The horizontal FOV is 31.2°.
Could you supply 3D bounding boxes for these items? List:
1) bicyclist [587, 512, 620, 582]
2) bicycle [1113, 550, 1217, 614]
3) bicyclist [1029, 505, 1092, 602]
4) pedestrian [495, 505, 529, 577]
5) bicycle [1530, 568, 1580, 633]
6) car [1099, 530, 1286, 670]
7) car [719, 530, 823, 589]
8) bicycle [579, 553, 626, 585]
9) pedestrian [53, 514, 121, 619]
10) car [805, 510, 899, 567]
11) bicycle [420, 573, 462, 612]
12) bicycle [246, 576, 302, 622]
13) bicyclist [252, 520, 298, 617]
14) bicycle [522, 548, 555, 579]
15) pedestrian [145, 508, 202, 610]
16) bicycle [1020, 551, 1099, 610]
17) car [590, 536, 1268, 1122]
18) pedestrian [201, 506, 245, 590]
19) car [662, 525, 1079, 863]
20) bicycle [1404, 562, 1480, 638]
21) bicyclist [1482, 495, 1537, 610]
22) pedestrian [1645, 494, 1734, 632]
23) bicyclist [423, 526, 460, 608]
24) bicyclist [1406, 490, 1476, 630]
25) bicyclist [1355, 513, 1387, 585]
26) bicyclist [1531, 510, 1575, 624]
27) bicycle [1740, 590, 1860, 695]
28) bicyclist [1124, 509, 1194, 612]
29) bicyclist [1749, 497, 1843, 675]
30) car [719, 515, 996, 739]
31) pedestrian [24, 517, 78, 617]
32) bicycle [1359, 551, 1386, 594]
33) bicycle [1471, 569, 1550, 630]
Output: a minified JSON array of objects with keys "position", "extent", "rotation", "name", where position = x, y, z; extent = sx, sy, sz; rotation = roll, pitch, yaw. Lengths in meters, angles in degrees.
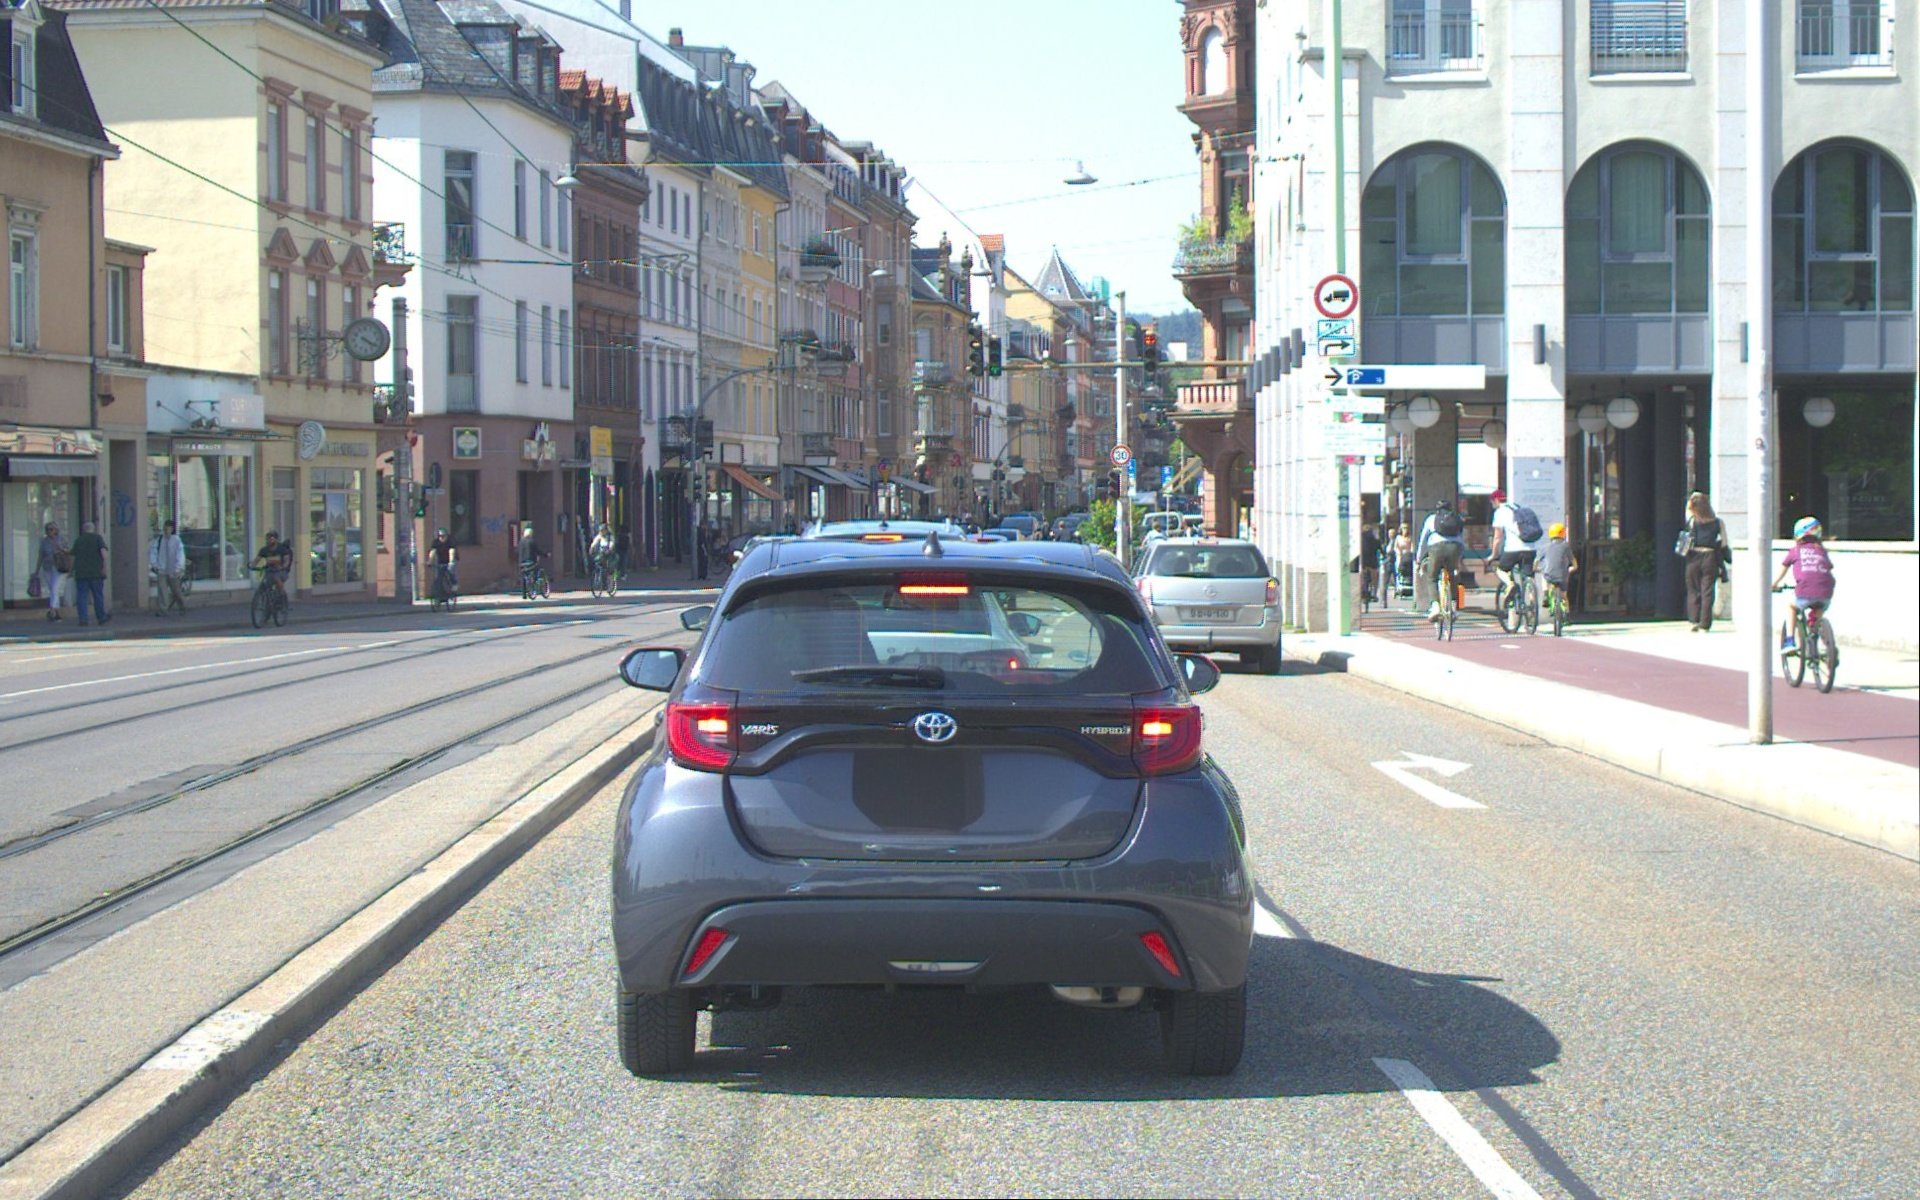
[{"position":[-8.606,-1.285,83.035],"extent":[0.627,1.644,0.621],"rotation":[2,2,8],"name":"bicyclist"},{"position":[5.182,-0.460,87.171],"extent":[1.112,1.415,3.008],"rotation":[3,1,-29],"name":"bicycle"},{"position":[2.714,-1.269,93.045],"extent":[1.227,2.520,1.105],"rotation":[4,1,-20],"name":"bicyclist"},{"position":[-11.108,-1.471,85.245],"extent":[0.736,1.760,0.787],"rotation":[0,2,0],"name":"pedestrian"},{"position":[7.309,0.005,42.261],"extent":[0.416,0.763,0.962],"rotation":[-2,1,0],"name":"bicycle"},{"position":[2.567,-0.044,38.826],"extent":[1.705,1.461,4.326],"rotation":[1,1,-1],"name":"car"},{"position":[-4.751,-1.034,86.896],"extent":[1.732,1.455,4.372],"rotation":[0,1,9],"name":"car"},{"position":[-8.623,-0.756,83.027],"extent":[0.620,0.713,2.044],"rotation":[2,2,9],"name":"bicycle"},{"position":[-14.141,-0.540,55.699],"extent":[0.762,1.648,0.711],"rotation":[4,1,7],"name":"pedestrian"},{"position":[-3.086,-1.786,99.469],"extent":[1.994,1.581,4.651],"rotation":[0,1,7],"name":"car"},{"position":[-10.652,-0.158,70.595],"extent":[0.620,0.713,1.731],"rotation":[1,2,-1],"name":"bicycle"},{"position":[-11.884,-0.025,59.594],"extent":[0.620,0.713,1.771],"rotation":[1,2,-1],"name":"bicycle"},{"position":[-11.875,-0.548,59.610],"extent":[0.627,1.644,0.622],"rotation":[2,2,0],"name":"bicyclist"},{"position":[-10.414,-0.907,84.966],"extent":[0.620,0.713,1.771],"rotation":[1,2,0],"name":"bicycle"},{"position":[-14.078,-0.737,61.547],"extent":[0.736,1.760,0.787],"rotation":[4,1,0],"name":"pedestrian"},{"position":[2.675,-0.531,93.035],"extent":[1.111,1.415,3.008],"rotation":[4,1,-18],"name":"bicycle"},{"position":[-0.113,0.558,10.675],"extent":[1.720,1.468,3.658],"rotation":[1,1,-1],"name":"car"},{"position":[-14.556,-1.026,67.931],"extent":[0.649,1.596,0.566],"rotation":[4,3,0],"name":"pedestrian"},{"position":[-0.451,0.391,17.861],"extent":[1.897,1.525,4.000],"rotation":[1,1,-1],"name":"car"},{"position":[5.894,-0.004,42.089],"extent":[0.704,0.879,1.525],"rotation":[-1,1,0],"name":"bicycle"},{"position":[7.106,-0.613,44.440],"extent":[0.484,1.461,0.443],"rotation":[-3,1,-39],"name":"bicyclist"},{"position":[8.841,-0.453,41.692],"extent":[0.739,1.609,1.016],"rotation":[4,1,-1],"name":"pedestrian"},{"position":[-10.642,-0.688,70.615],"extent":[0.627,1.644,0.622],"rotation":[2,2,0],"name":"bicyclist"},{"position":[5.882,-0.495,42.065],"extent":[0.701,1.689,0.924],"rotation":[-1,1,0],"name":"bicyclist"},{"position":[7.594,-0.946,63.496],"extent":[0.538,1.312,0.672],"rotation":[-1,1,5],"name":"bicyclist"},{"position":[7.294,-0.404,42.276],"extent":[0.422,1.378,0.443],"rotation":[-2,1,-1],"name":"bicyclist"},{"position":[6.660,0.326,27.328],"extent":[0.514,0.763,1.661],"rotation":[-2,1,0],"name":"bicycle"},{"position":[5.059,-1.005,87.410],"extent":[1.228,2.520,1.105],"rotation":[3,1,-28],"name":"bicyclist"},{"position":[6.637,-0.116,27.310],"extent":[0.534,1.378,0.669],"rotation":[-2,1,-1],"name":"bicyclist"},{"position":[-0.751,0.142,25.925],"extent":[1.897,1.525,4.000],"rotation":[1,1,-1],"name":"car"},{"position":[-15.081,-0.549,57.034],"extent":[0.649,1.596,0.566],"rotation":[4,3,0],"name":"pedestrian"},{"position":[7.620,-0.514,63.525],"extent":[0.416,0.763,1.205],"rotation":[-2,1,4],"name":"bicycle"},{"position":[7.117,-0.006,44.465],"extent":[0.416,0.763,0.961],"rotation":[-3,2,-39],"name":"bicycle"}]
